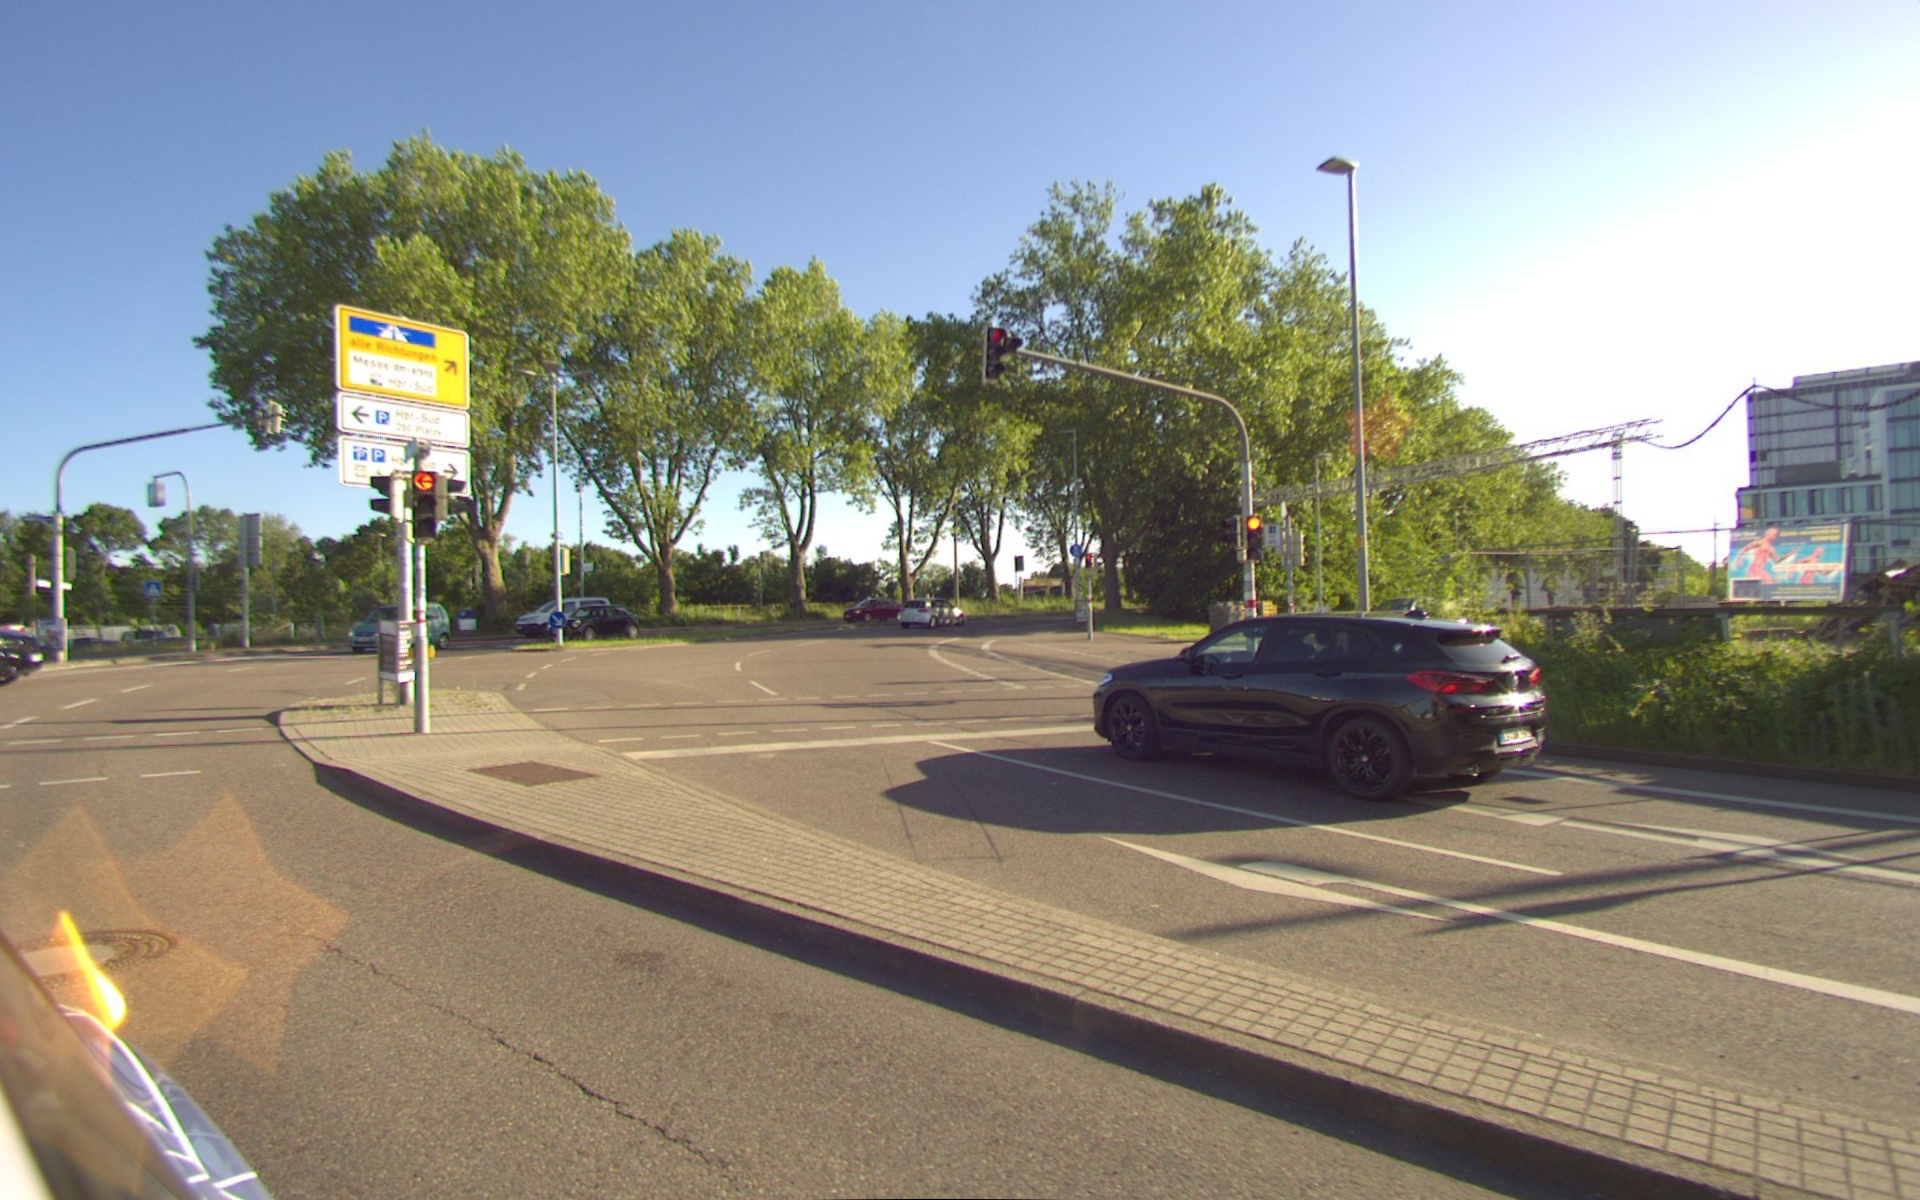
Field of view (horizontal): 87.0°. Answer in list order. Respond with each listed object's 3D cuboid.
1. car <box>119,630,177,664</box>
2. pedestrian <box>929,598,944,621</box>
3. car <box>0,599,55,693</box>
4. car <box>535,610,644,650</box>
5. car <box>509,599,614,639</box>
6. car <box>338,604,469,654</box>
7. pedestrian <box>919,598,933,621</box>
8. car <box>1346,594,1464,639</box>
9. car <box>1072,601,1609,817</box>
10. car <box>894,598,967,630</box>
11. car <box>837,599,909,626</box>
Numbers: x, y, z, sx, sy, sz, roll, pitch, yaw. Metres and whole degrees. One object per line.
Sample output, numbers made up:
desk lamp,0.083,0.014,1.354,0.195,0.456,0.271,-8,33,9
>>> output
car,-49.261,2.829,61.365,5.027,1.852,2.168,-2,-1,44
pedestrian,-1.664,0.664,71.532,0.730,1.604,0.793,-2,-1,43
car,-19.997,0.879,18.557,4.668,1.727,2.055,-1,-1,-25
car,-14.349,1.138,39.388,1.895,1.438,3.909,-1,-1,21
car,-18.852,0.878,47.956,1.860,1.757,4.205,-3,-2,43
car,-19.357,0.969,35.389,1.899,1.648,4.109,-1,-1,9
pedestrian,-2.414,0.704,71.990,0.665,1.598,0.622,-2,-1,43
car,15.971,0.592,36.310,3.931,1.488,1.759,-1,-1,-27
car,3.263,0.817,9.532,1.924,1.529,4.397,0,-1,-36
car,-1.377,0.671,49.183,1.965,1.438,3.903,-2,0,25
car,-5.360,0.771,62.614,1.861,1.611,4.261,-2,-1,45
